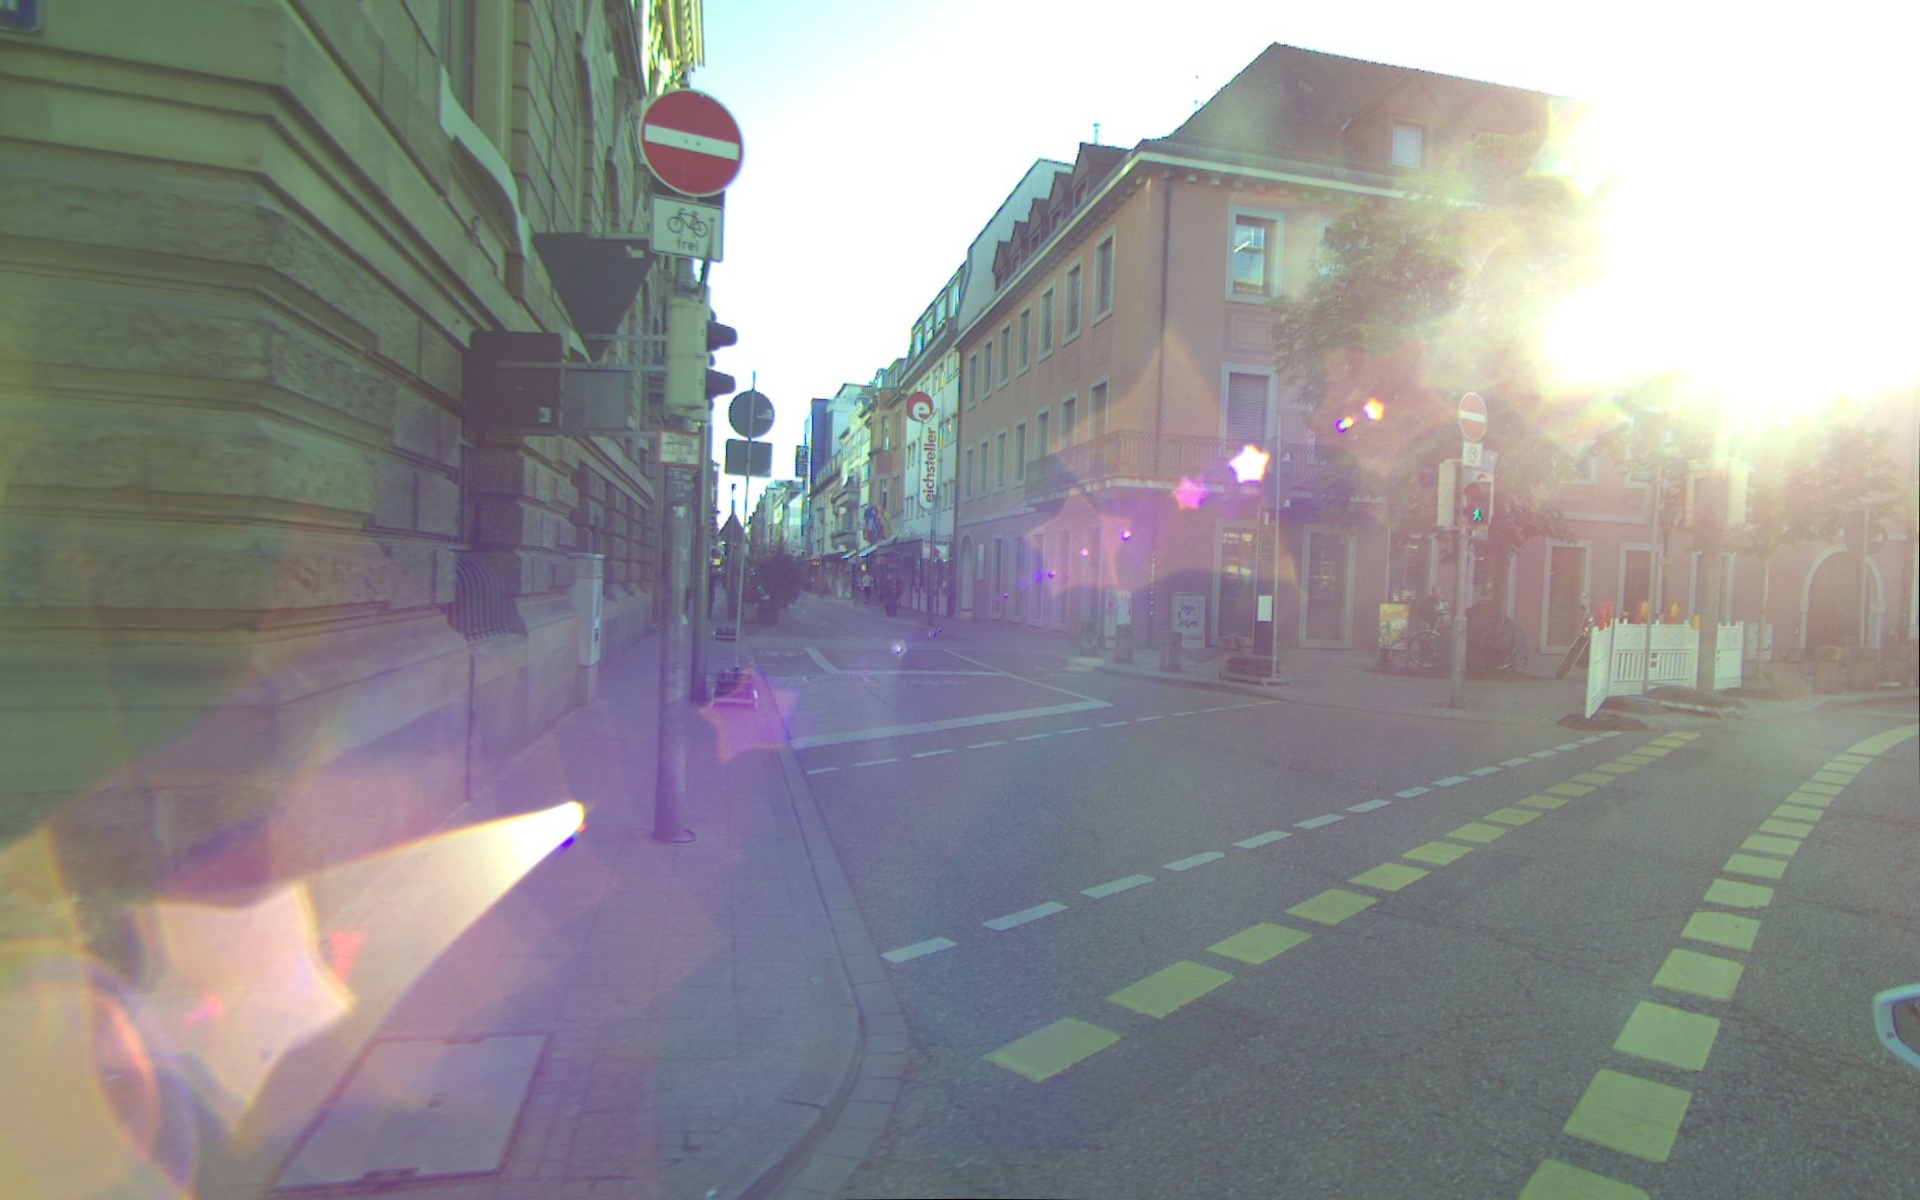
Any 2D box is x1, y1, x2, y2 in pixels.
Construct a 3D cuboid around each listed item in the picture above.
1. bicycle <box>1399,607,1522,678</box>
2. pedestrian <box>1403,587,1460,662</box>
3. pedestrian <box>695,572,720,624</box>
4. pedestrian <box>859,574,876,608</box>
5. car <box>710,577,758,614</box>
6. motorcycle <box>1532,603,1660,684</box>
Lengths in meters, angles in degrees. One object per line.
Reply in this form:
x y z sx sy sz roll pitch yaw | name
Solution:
9.209 0.766 18.505 1.970 1.222 0.682 1 -1 31 | bicycle
11.274 0.579 24.023 0.854 1.711 0.791 2 2 -13 | pedestrian
-8.448 -0.066 33.559 0.763 1.728 0.477 1 1 -15 | pedestrian
-5.239 -0.510 57.047 0.814 1.906 0.776 1 1 -15 | pedestrian
-10.004 -0.220 44.242 1.804 1.509 3.986 1 1 -16 | car
11.216 0.749 17.697 2.306 1.335 0.809 1 1 -27 | motorcycle
